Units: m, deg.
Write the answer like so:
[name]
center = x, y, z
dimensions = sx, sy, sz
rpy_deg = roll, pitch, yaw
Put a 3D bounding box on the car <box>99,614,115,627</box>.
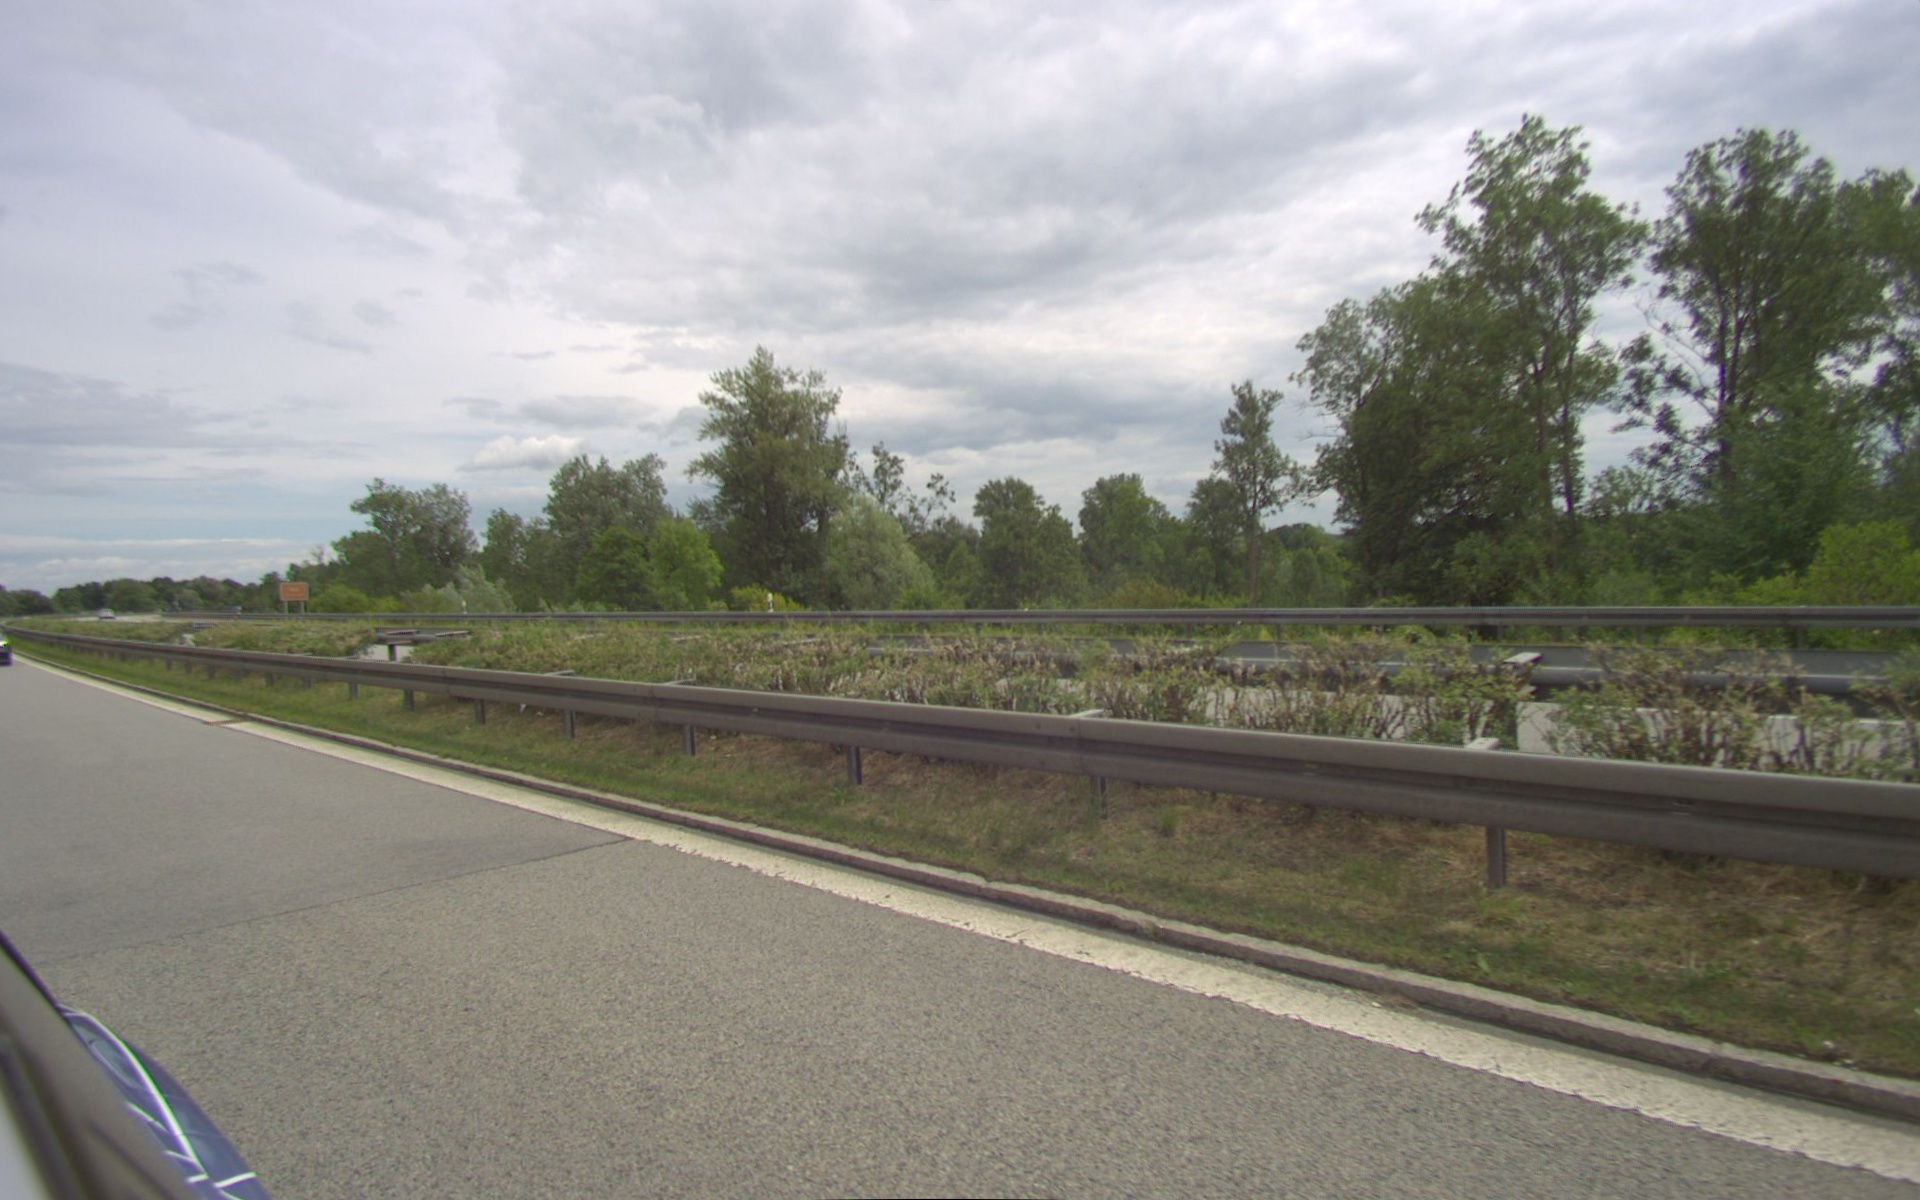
[car]
center = -120.295, 2.871, 142.753
dimensions = 1.622, 1.728, 4.988
rpy_deg = -3, 1, -41
